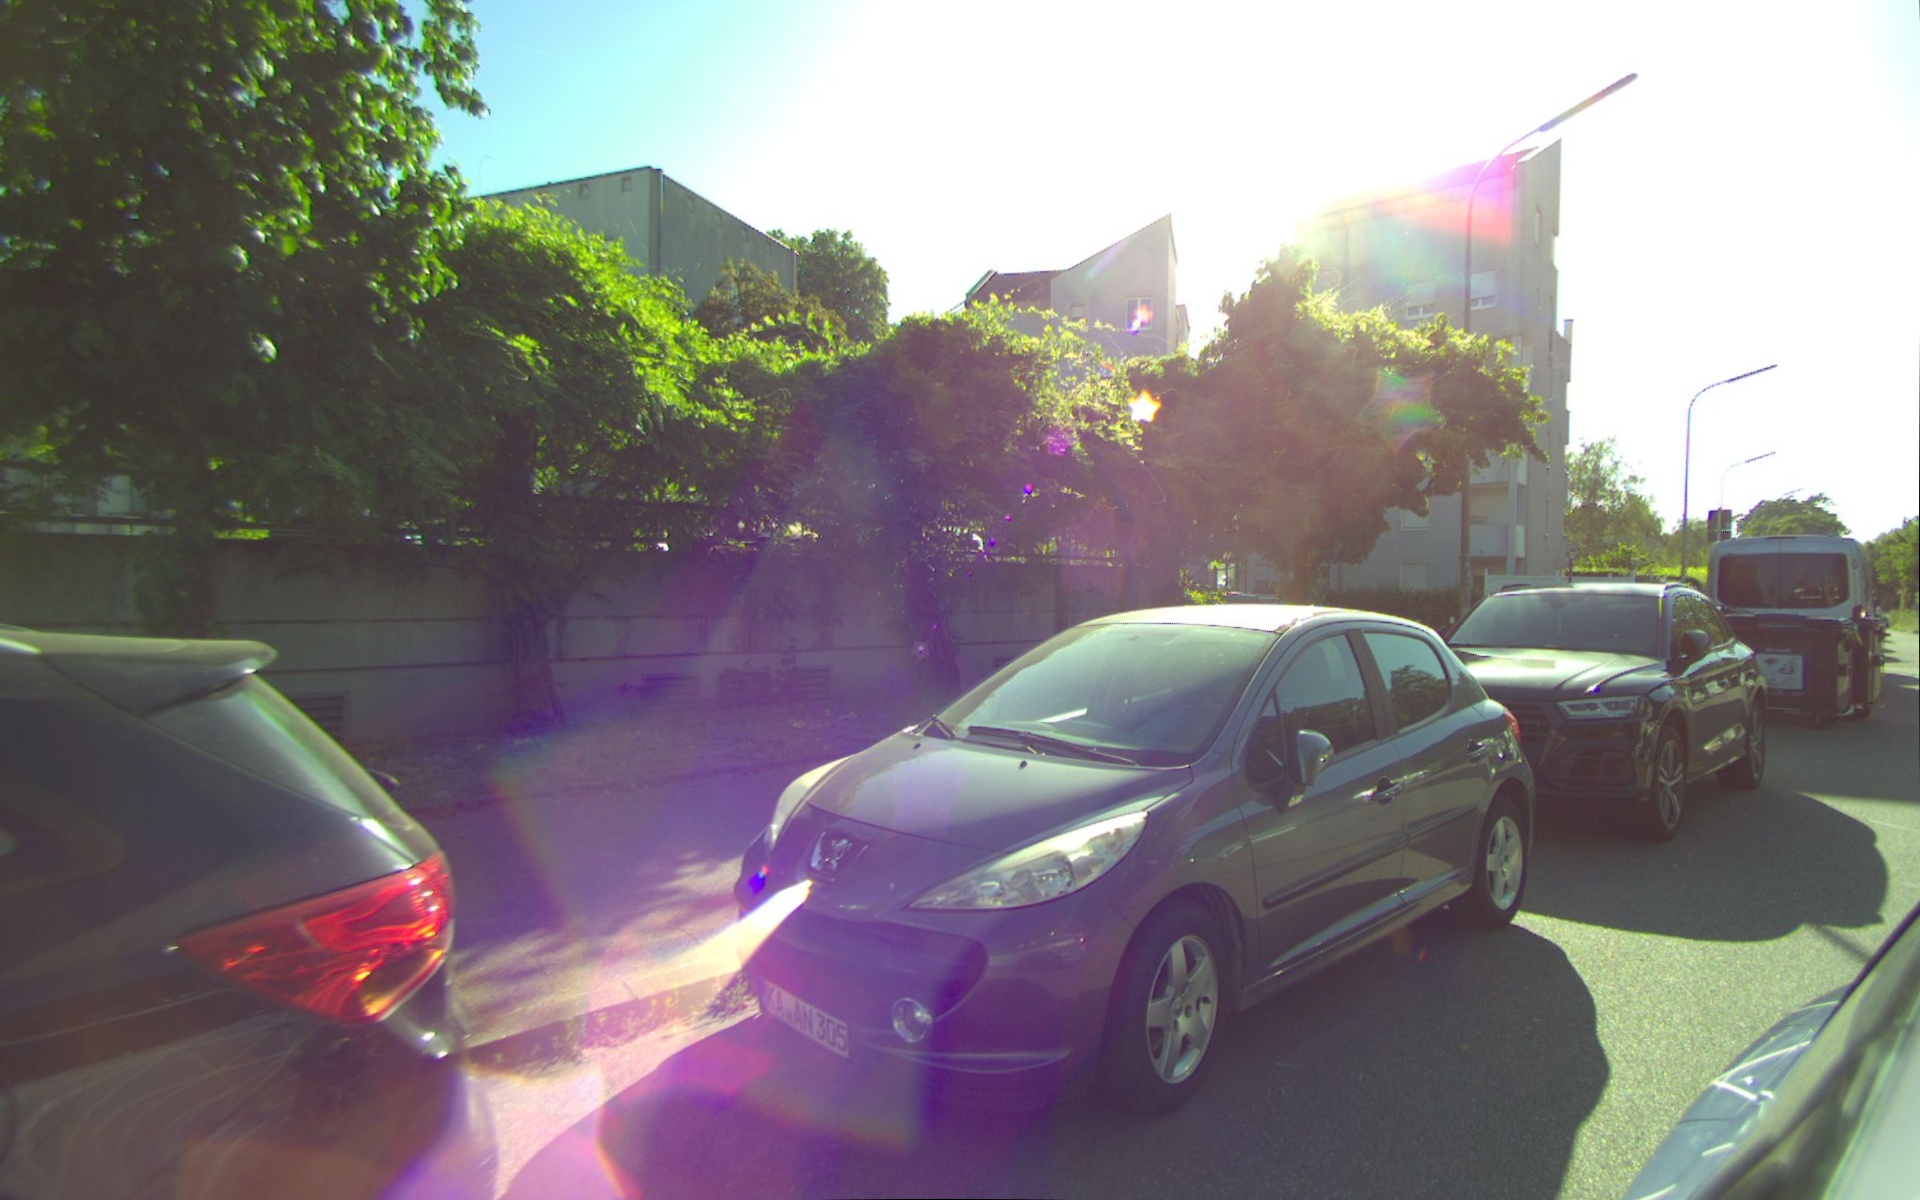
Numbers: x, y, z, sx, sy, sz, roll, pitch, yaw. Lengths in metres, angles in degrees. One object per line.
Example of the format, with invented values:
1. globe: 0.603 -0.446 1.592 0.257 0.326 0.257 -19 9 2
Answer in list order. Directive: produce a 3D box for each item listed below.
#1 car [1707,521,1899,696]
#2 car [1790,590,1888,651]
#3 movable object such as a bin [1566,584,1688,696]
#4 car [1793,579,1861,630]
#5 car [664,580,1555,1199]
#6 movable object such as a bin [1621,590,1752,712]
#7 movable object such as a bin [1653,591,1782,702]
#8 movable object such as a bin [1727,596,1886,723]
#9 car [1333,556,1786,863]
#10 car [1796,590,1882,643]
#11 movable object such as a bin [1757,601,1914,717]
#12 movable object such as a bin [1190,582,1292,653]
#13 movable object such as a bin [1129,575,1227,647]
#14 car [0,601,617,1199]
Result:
1. car: 14.625 0.091 17.404 2.105 2.517 5.762 0 1 44
2. car: 24.364 0.495 28.081 1.908 1.507 4.310 2 2 41
3. movable object such as a bin: 9.771 0.542 14.824 1.393 1.465 1.044 -2 4 -38
4. car: 35.238 0.124 41.228 1.991 1.936 4.882 2 2 40
5. car: 0.904 0.695 4.225 3.759 1.506 1.686 -1 0 -42
6. movable object such as a bin: 9.470 0.620 13.195 1.149 1.466 1.094 -2 1 -38
7. movable object such as a bin: 10.447 0.612 13.953 1.334 1.437 1.110 1 -1 -38
8. movable object such as a bin: 10.335 0.671 12.365 1.148 1.414 1.232 0 2 -36
9. car: 4.756 0.600 7.716 4.386 1.685 1.812 0 0 -43
10. car: 27.880 0.465 32.117 1.908 1.507 4.310 2 2 41
11. movable object such as a bin: 11.266 0.728 13.036 1.101 1.330 1.273 2 1 -36
12. movable object such as a bin: 5.605 0.320 20.219 1.357 1.321 1.415 0 2 -40
13. movable object such as a bin: 4.570 0.204 21.231 1.357 1.390 1.430 0 3 -40
14. car: -2.676 0.758 0.869 4.219 1.475 1.683 -1 0 -43
